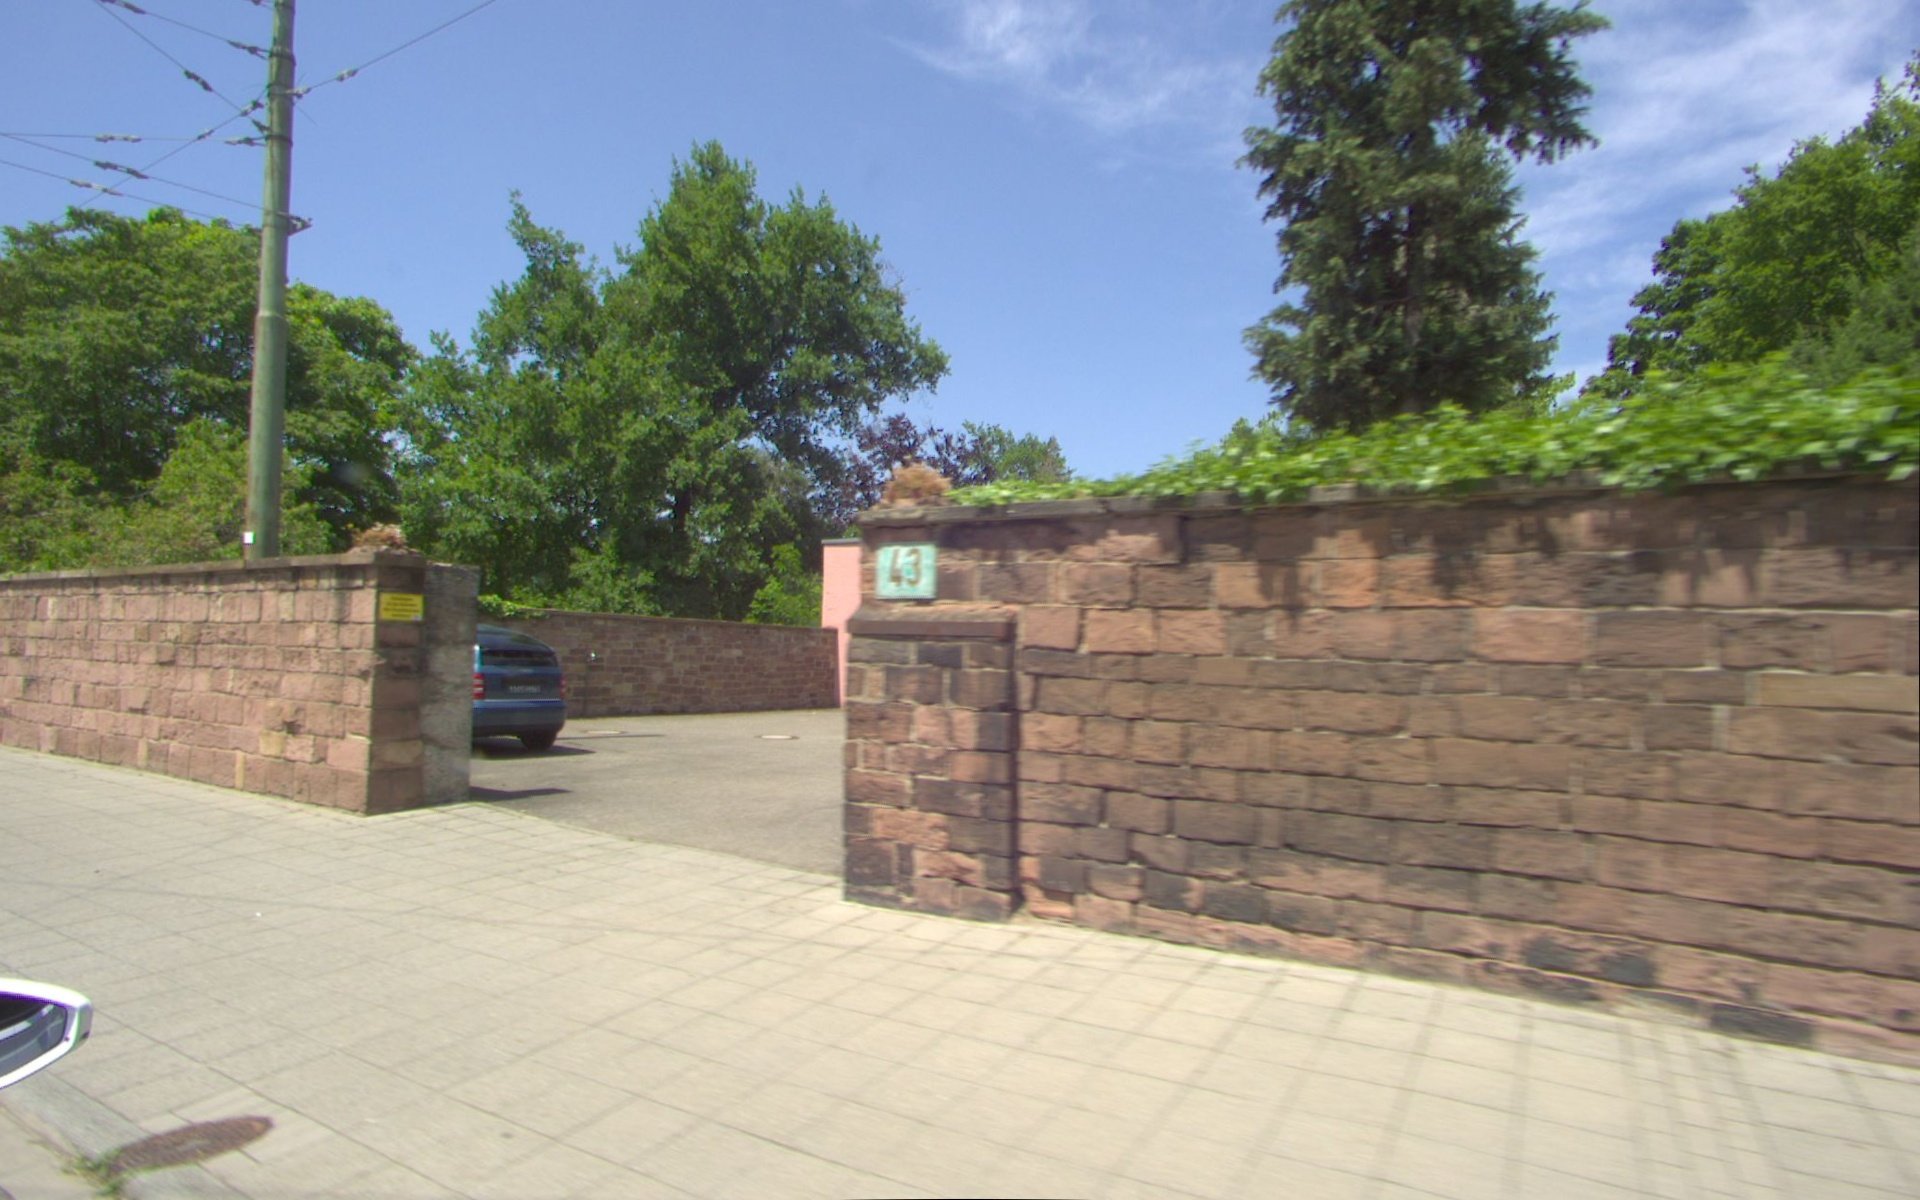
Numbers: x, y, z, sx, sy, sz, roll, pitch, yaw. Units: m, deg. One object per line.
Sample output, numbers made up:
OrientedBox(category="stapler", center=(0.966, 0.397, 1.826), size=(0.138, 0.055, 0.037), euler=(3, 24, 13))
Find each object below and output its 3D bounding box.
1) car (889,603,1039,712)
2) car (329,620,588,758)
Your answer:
OrientedBox(category="car", center=(0.229, 1.561, 26.302), size=(1.969, 2.571, 4.641), euler=(-1, -5, 28))
OrientedBox(category="car", center=(-6.264, 1.051, 12.485), size=(2.900, 1.500, 1.480), euler=(0, -4, 30))
